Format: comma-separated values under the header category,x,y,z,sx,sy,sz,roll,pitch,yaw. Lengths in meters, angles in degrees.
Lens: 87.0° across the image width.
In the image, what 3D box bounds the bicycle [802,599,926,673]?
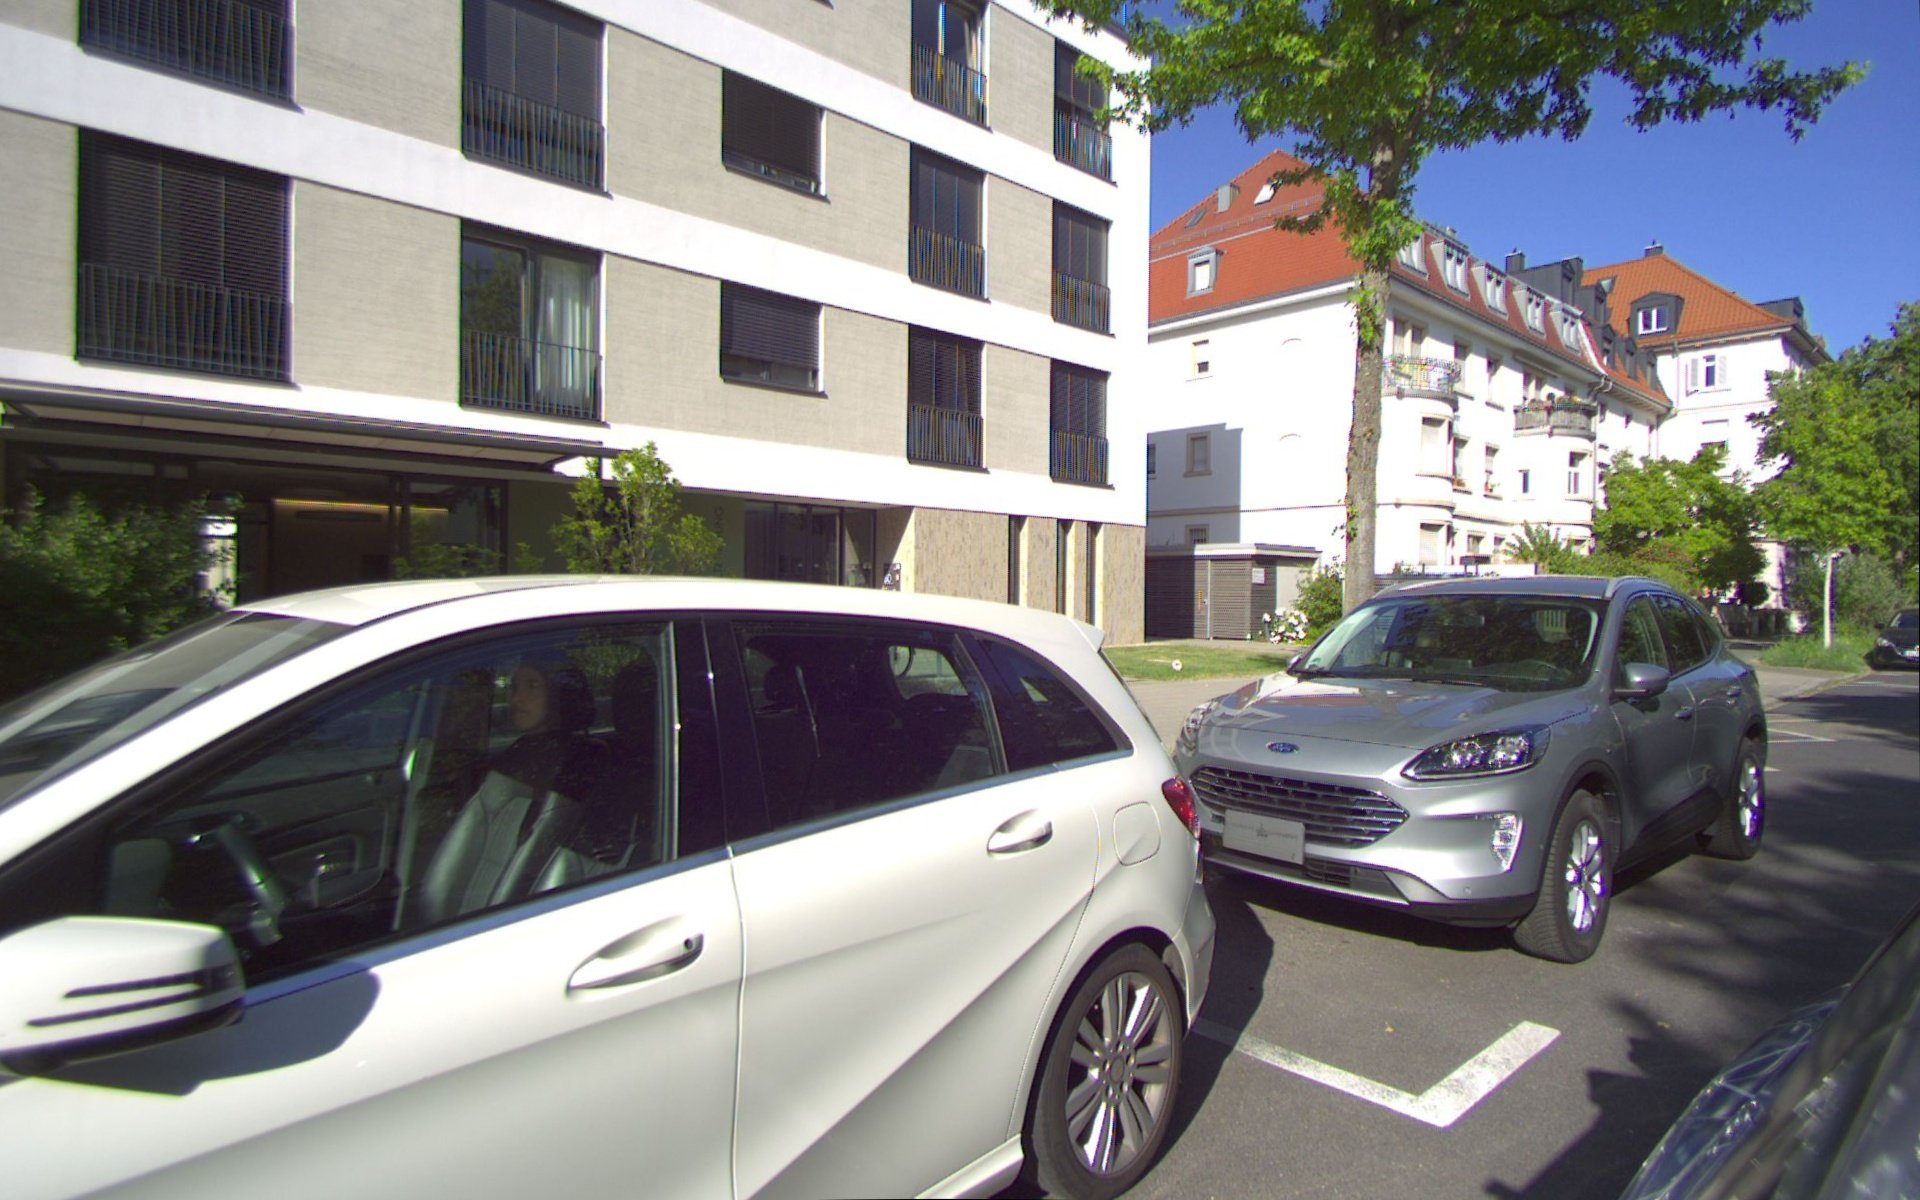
category,x,y,z,sx,sy,sz,roll,pitch,yaw
bicycle,-1.237,0.442,13.220,1.581,0.905,0.564,0,0,-41

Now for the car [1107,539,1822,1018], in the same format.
category,x,y,z,sx,sy,sz,roll,pitch,yaw
car,3.160,0.615,5.790,4.774,1.668,1.901,0,0,-40

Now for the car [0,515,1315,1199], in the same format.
category,x,y,z,sx,sy,sz,roll,pitch,yaw
car,-1.133,0.678,2.117,1.781,1.537,4.612,0,0,44

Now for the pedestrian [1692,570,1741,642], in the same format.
category,x,y,z,sx,sy,sz,roll,pitch,yaw
pedestrian,21.935,0.167,29.333,0.988,2.039,0.907,0,1,-41

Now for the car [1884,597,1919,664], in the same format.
category,x,y,z,sx,sy,sz,roll,pitch,yaw
car,22.932,0.694,23.542,3.473,1.483,1.670,0,2,-40

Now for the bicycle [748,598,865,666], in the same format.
category,x,y,z,sx,sy,sz,roll,pitch,yaw
bicycle,-2.162,0.435,14.346,1.581,0.905,0.564,0,0,-41
